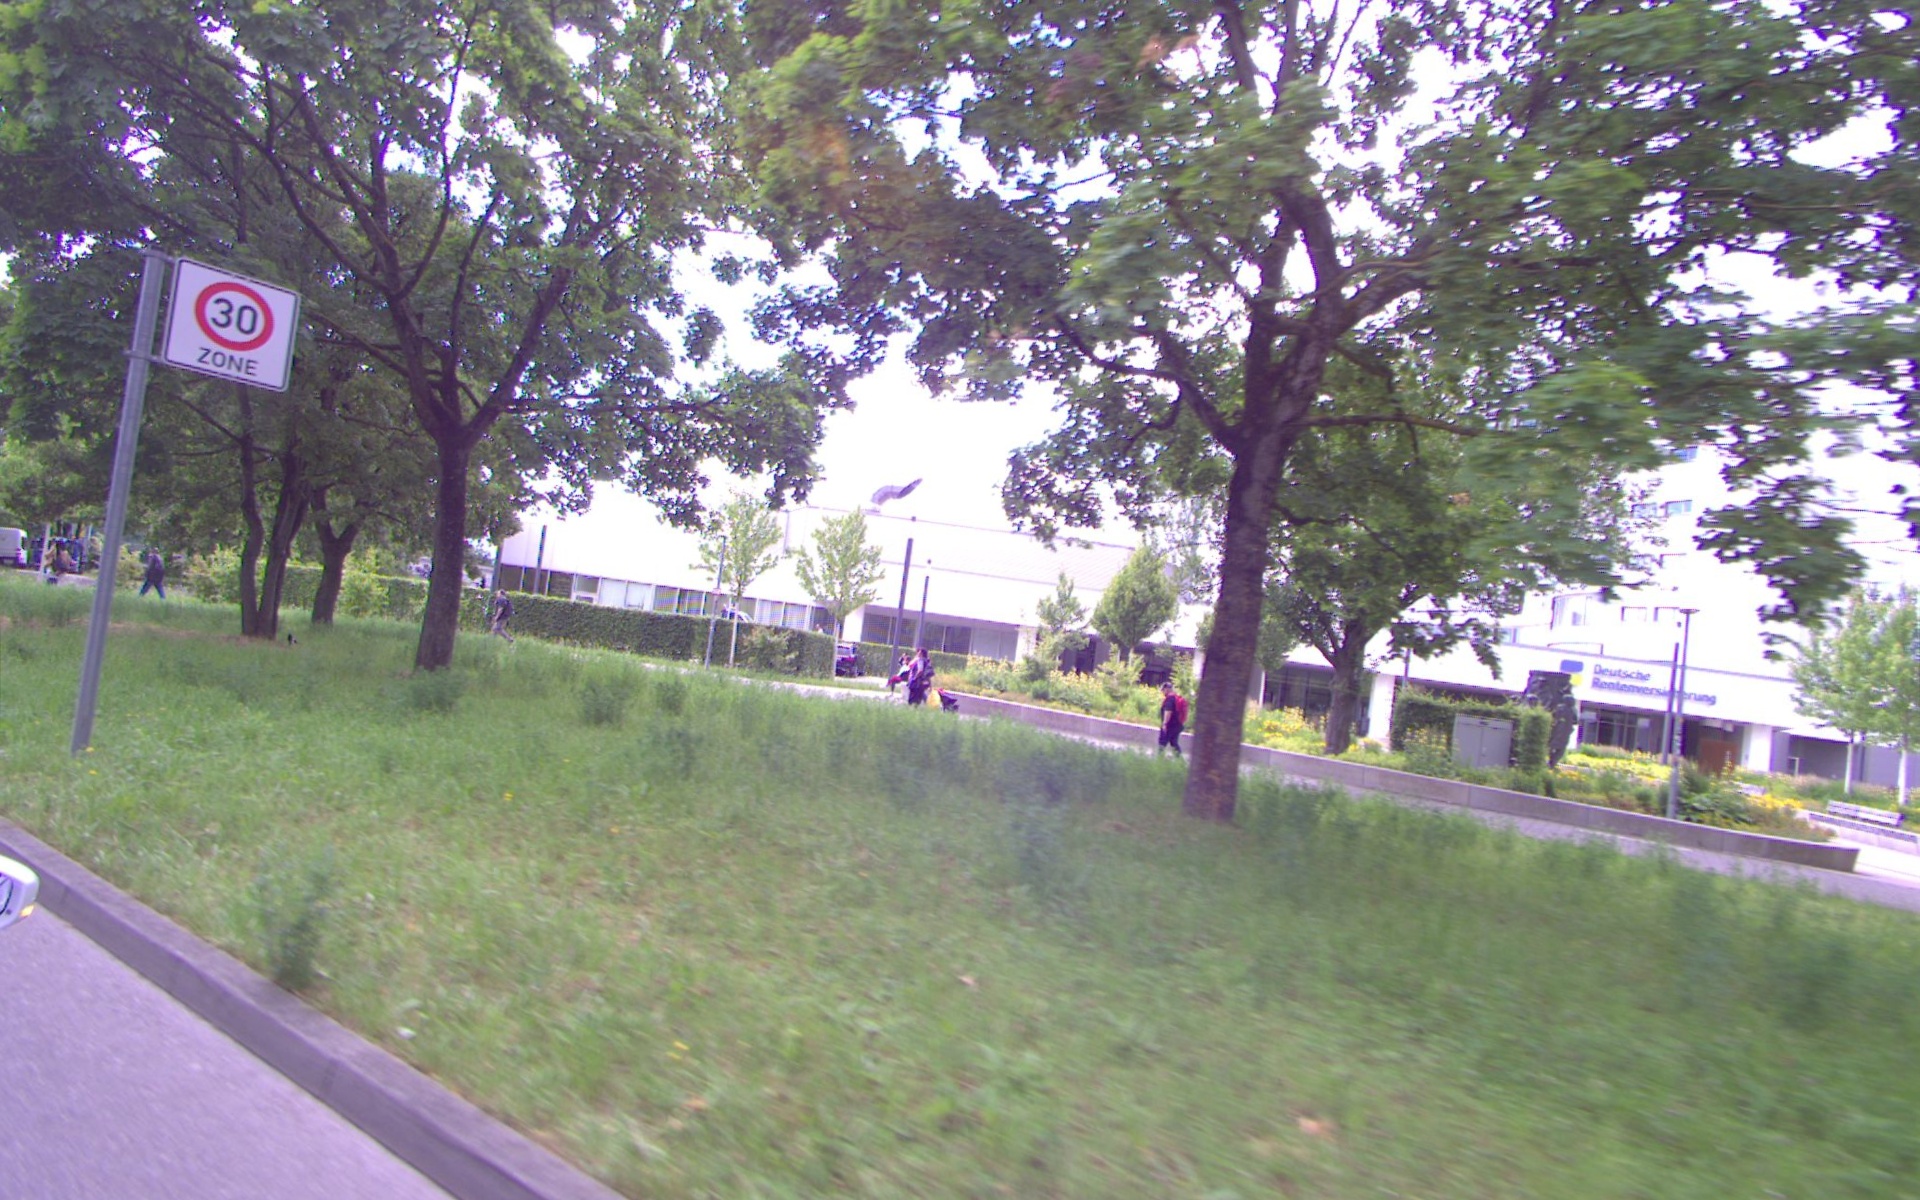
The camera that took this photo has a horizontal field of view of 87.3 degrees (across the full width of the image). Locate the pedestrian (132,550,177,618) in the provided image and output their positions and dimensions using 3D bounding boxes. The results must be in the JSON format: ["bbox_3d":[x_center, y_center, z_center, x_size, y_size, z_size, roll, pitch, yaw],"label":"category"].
[{"bbox_3d":[-22.285,-0.454,27.851,0.771,1.742,0.814,9,-2,-39],"label":"pedestrian"}]

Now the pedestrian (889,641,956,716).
[{"bbox_3d":[-0.828,1.738,22.166,0.967,1.468,0.879,7,-3,32],"label":"pedestrian"}]

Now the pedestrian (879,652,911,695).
[{"bbox_3d":[-1.911,2.151,29.497,0.599,1.173,0.645,8,-3,-27],"label":"pedestrian"}]

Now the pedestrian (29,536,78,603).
[{"bbox_3d":[-25.437,-0.869,28.229,0.812,1.742,0.773,6,-2,44],"label":"pedestrian"}]

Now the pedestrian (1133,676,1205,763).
[{"bbox_3d":[3.942,2.260,18.984,0.967,1.468,0.760,7,-3,32],"label":"pedestrian"}]

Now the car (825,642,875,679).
[{"bbox_3d":[-4.950,2.774,45.701,1.480,1.438,3.110,8,-3,6],"label":"car"}]

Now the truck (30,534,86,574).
[{"bbox_3d":[-63.357,-3.221,70.724,2.318,2.321,5.834,10,-4,-38],"label":"truck"}]

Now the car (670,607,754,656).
[{"bbox_3d":[-10.982,1.411,44.651,3.094,1.694,1.578,8,-3,1],"label":"car"}]

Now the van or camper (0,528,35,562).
[{"bbox_3d":[-61.989,-3.701,63.635,4.636,1.936,1.759,9,-2,-29],"label":"van or camper"}]

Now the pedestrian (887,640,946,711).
[{"bbox_3d":[-1.095,1.910,25.444,0.917,1.624,0.954,5,-4,36],"label":"pedestrian"}]

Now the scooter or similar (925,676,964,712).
[{"bbox_3d":[-0.391,2.342,25.093,0.662,0.790,0.634,4,-4,36],"label":"scooter or similar"}]

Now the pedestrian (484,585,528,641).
[{"bbox_3d":[-13.154,0.388,29.169,0.685,1.468,0.836,8,-2,3],"label":"pedestrian"}]
